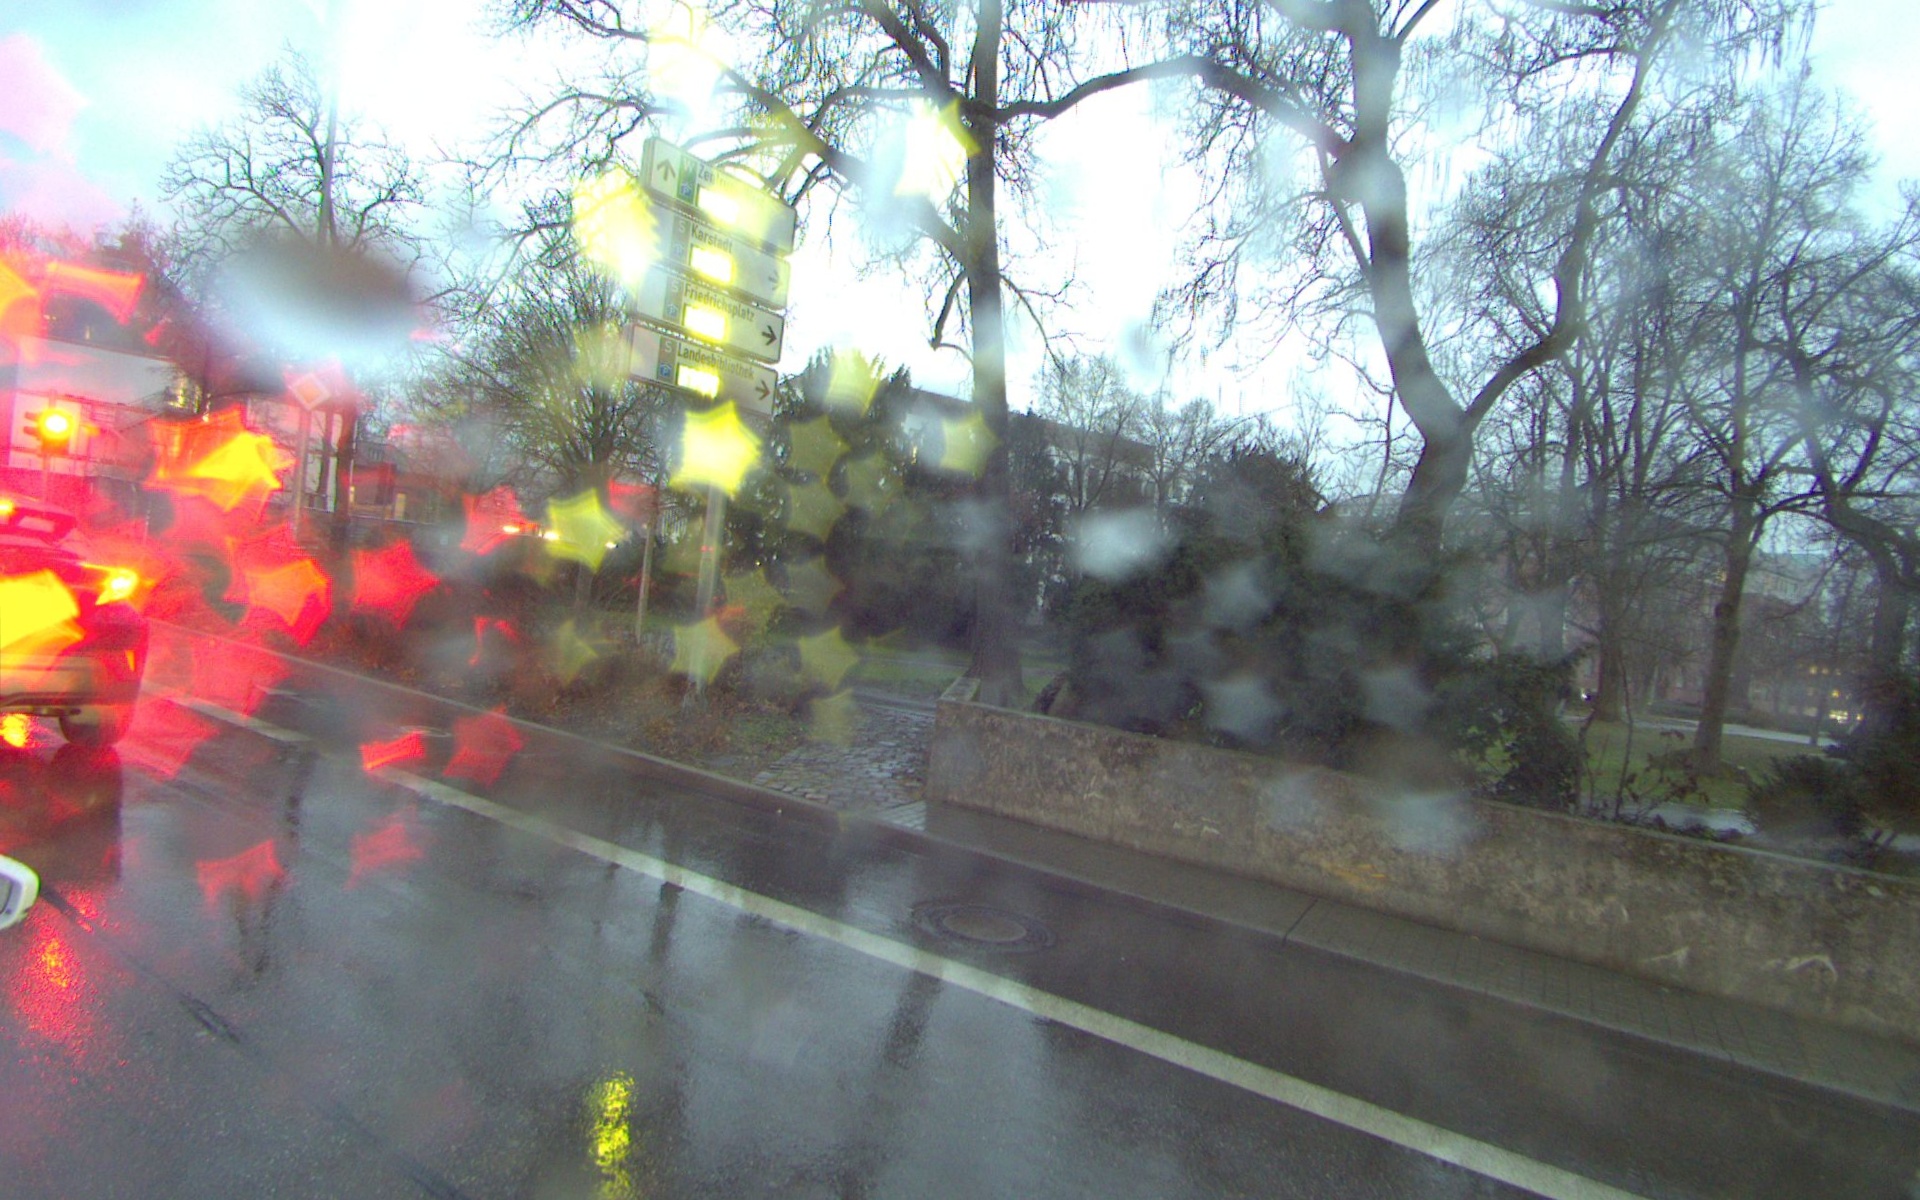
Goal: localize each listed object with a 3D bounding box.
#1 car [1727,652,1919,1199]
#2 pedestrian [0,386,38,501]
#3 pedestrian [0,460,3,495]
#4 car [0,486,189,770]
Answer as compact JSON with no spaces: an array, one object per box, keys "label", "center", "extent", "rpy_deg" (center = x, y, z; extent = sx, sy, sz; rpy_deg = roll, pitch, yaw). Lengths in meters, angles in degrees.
[{"label":"car","center":[3.588,1.127,0.421],"extent":[4.852,1.575,1.866],"rpy_deg":[7,0,28]},{"label":"pedestrian","center":[-18.281,-2.988,18.818],"extent":[0.988,2.039,0.962],"rpy_deg":[7,1,10]},{"label":"pedestrian","center":[-17.144,-1.455,17.121],"extent":[0.992,2.039,0.958],"rpy_deg":[7,1,36]},{"label":"car","center":[-6.823,-0.041,6.341],"extent":[3.831,1.529,1.802],"rpy_deg":[7,0,32]}]
